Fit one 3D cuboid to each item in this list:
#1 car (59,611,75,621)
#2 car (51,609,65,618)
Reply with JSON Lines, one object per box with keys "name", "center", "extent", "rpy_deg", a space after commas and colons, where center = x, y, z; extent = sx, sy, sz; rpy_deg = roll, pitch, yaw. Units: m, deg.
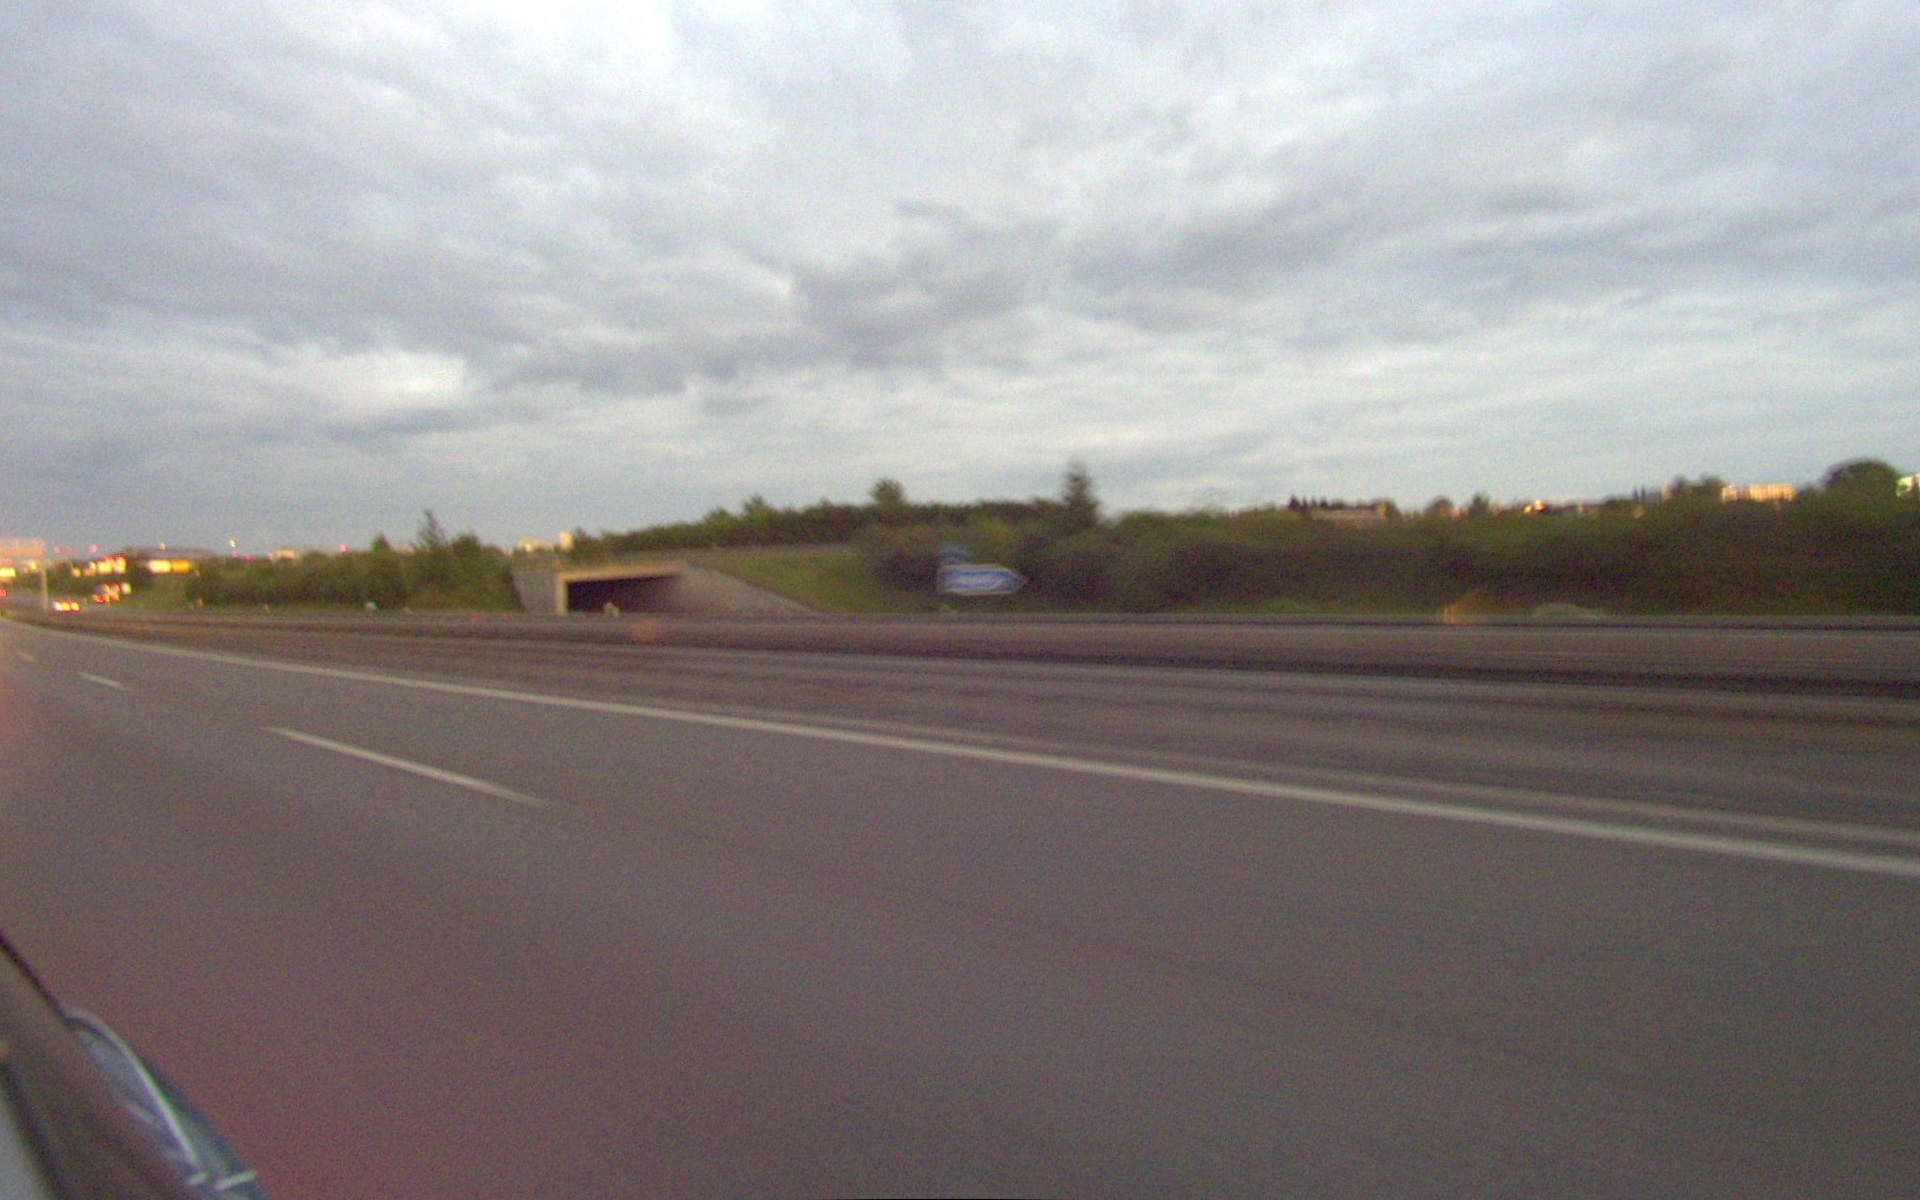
{"name": "car", "center": [-151.545, 2.681, 171.726], "extent": [4.432, 1.411, 1.671], "rpy_deg": [1, 5, 45]}
{"name": "car", "center": [-173.350, 2.608, 194.406], "extent": [4.432, 1.411, 1.671], "rpy_deg": [1, 5, 45]}
